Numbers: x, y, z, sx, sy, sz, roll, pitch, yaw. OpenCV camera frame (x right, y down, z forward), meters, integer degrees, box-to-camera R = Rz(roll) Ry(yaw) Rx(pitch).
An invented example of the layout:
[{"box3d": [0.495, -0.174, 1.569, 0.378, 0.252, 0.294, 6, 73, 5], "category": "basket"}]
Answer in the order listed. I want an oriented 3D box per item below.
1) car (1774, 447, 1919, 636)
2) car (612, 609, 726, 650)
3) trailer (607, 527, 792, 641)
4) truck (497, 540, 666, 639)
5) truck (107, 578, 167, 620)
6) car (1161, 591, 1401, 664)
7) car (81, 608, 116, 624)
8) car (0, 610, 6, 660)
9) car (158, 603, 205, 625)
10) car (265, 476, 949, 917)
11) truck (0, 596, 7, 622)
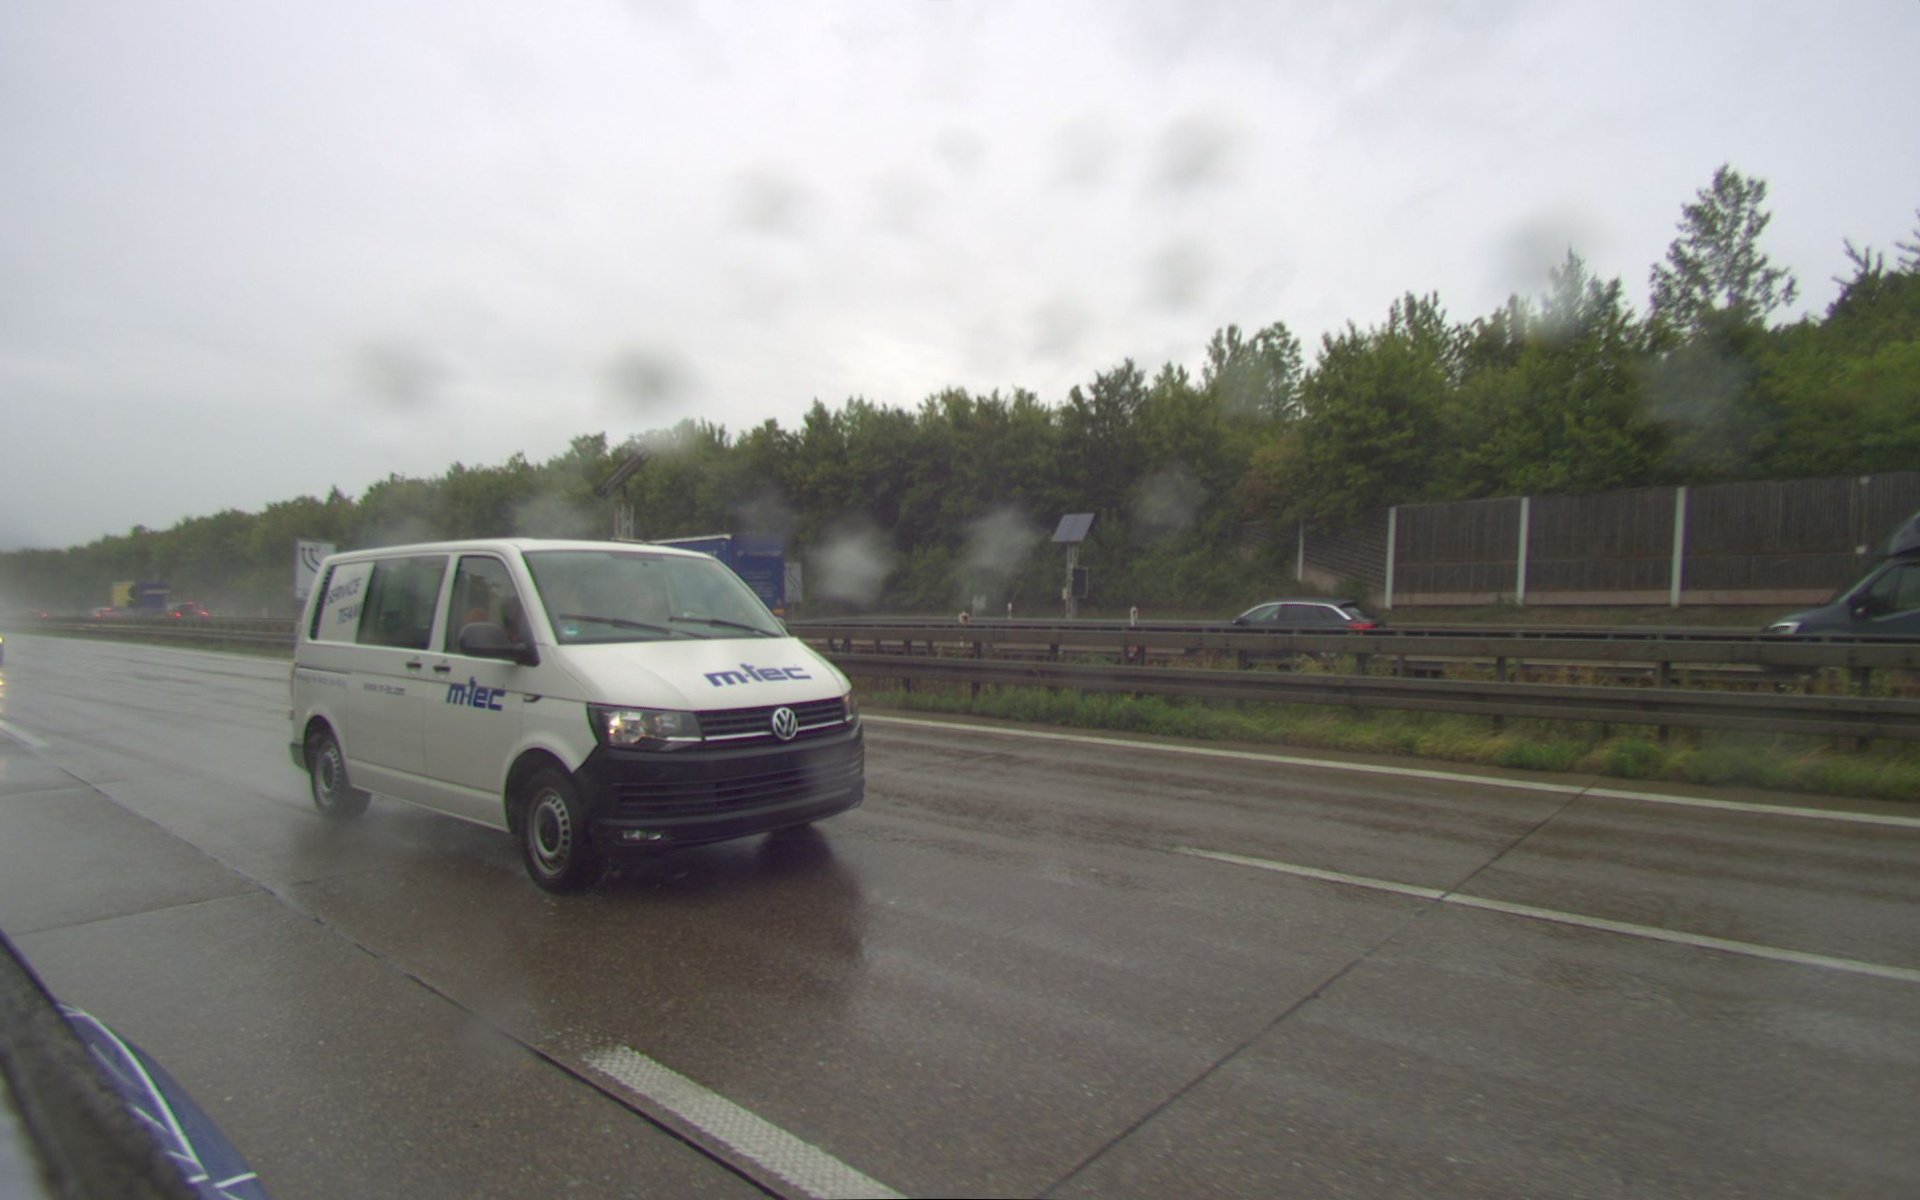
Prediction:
[{"box3d": [15.460, -0.842, 13.179, 7.444, 2.586, 2.159, -1, 0, 43], "category": "car"}, {"box3d": [-10.345, 1.023, 35.873, 4.422, 1.349, 1.734, -1, 0, 41], "category": "car"}, {"box3d": [-10.674, -0.549, 40.859, 8.520, 4.185, 2.819, -1, 0, 41], "category": "trailer"}, {"box3d": [-17.776, -0.385, 47.032, 10.172, 4.185, 2.819, -1, 0, 41], "category": "truck"}, {"box3d": [-77.633, -0.066, 95.393, 9.791, 3.728, 2.559, -1, 0, 40], "category": "truck"}, {"box3d": [6.590, 0.549, 21.065, 4.422, 1.349, 1.734, -1, 0, 41], "category": "car"}, {"box3d": [-76.768, 1.465, 90.183, 4.422, 1.349, 1.734, -1, 0, 41], "category": "car"}, {"box3d": [-29.877, 0.993, 29.989, 4.516, 1.445, 1.908, -1, -3, 42], "category": "car"}, {"box3d": [-58.058, 1.035, 75.458, 5.267, 1.543, 1.734, -1, 0, 41], "category": "car"}, {"box3d": [-2.617, 0.462, 6.702, 5.036, 1.908, 1.881, -1, -1, 38], "category": "car"}, {"box3d": [-128.581, 1.307, 133.352, 11.502, 3.340, 2.747, -1, 0, 39], "category": "truck"}]
